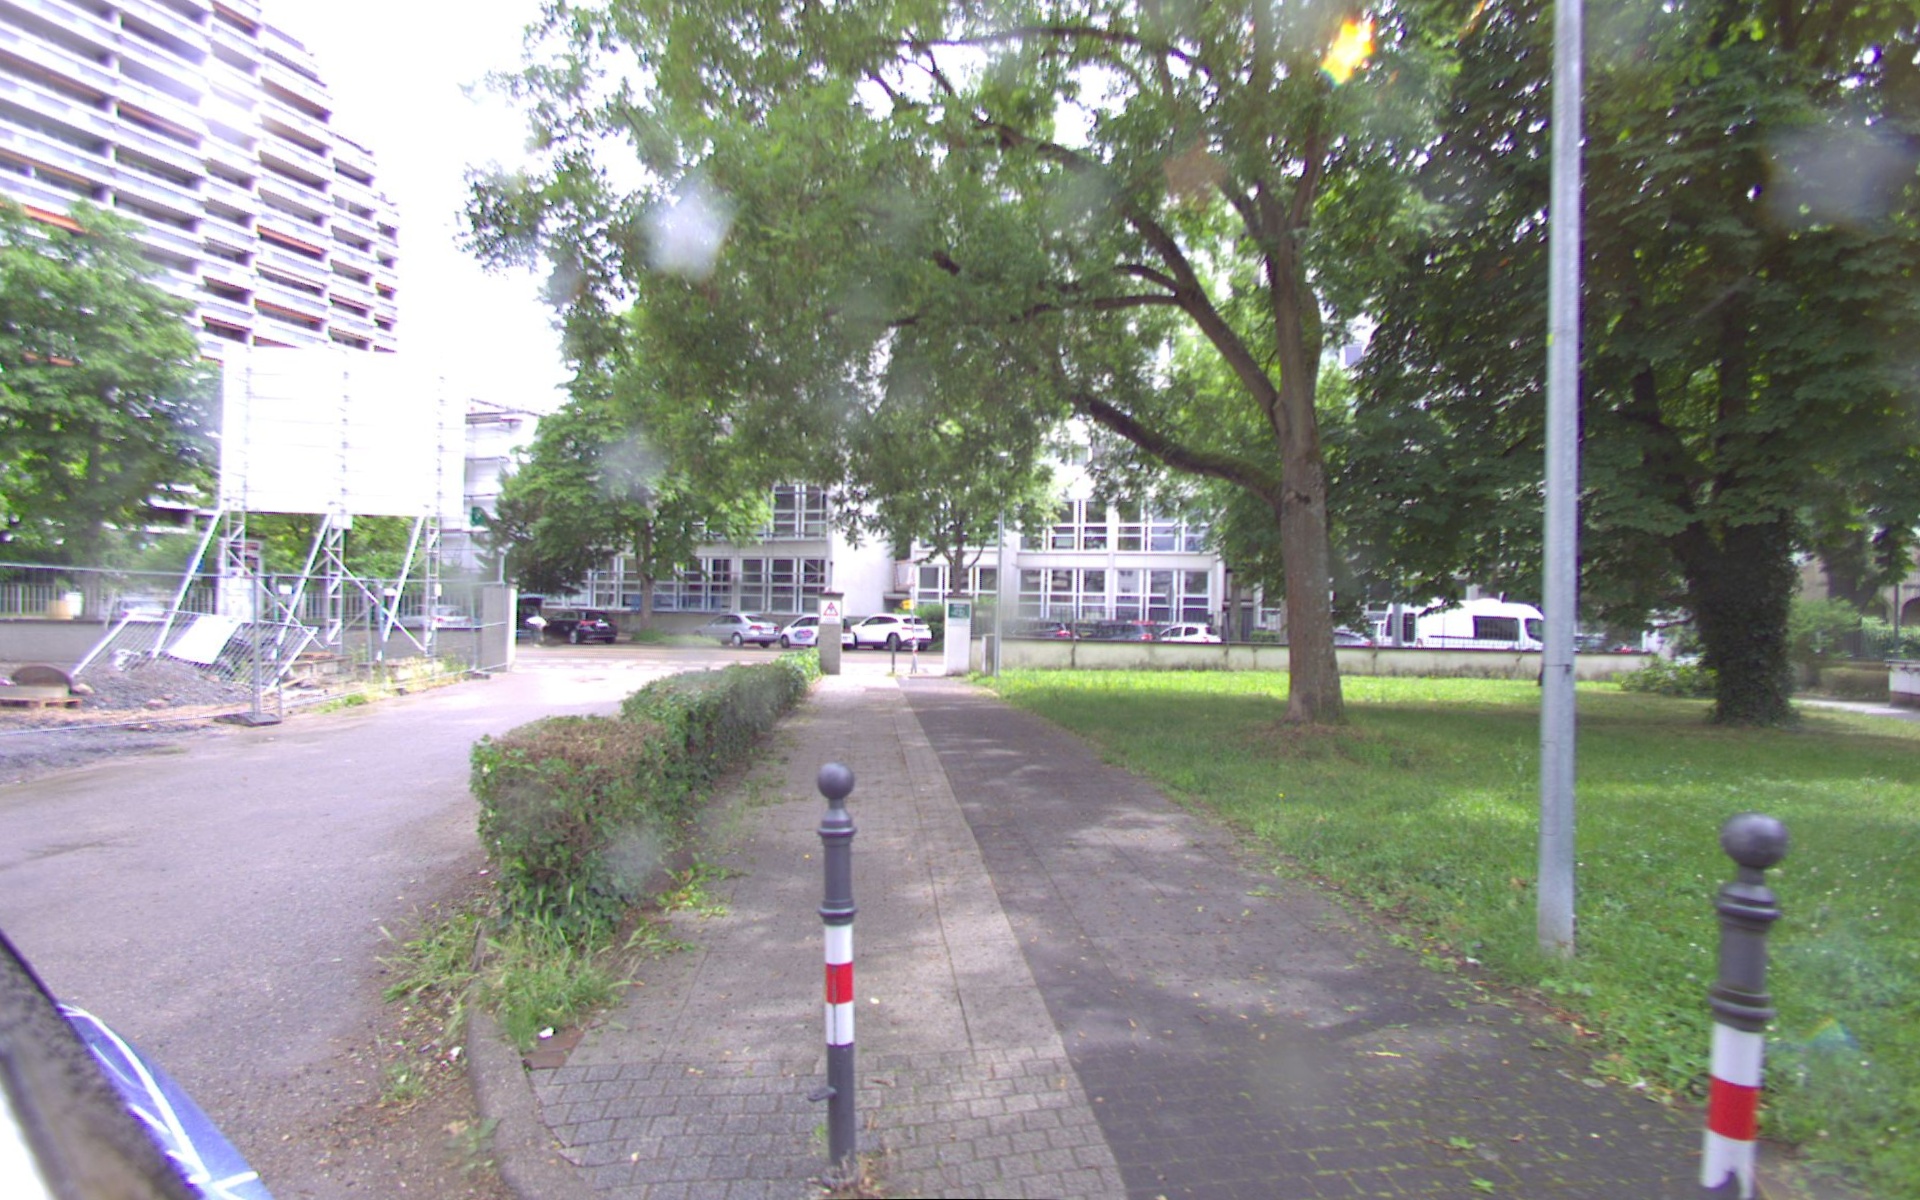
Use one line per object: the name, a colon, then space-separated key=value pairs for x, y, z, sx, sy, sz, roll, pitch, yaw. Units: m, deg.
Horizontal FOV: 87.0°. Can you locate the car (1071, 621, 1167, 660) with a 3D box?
car: x=6.958 y=1.783 z=44.405 sx=3.779 sy=1.517 sz=1.766 roll=1 pitch=-2 yaw=41

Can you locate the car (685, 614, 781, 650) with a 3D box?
car: x=-9.661 y=1.348 z=42.993 sx=3.992 sy=1.425 sz=1.702 roll=0 pitch=-3 yaw=36

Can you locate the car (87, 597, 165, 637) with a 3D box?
car: x=-33.121 y=0.648 z=40.155 sx=3.999 sy=1.497 sz=1.833 roll=0 pitch=0 yaw=42

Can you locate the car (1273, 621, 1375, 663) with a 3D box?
car: x=16.463 y=1.890 z=45.856 sx=4.069 sy=1.663 sz=1.772 roll=2 pitch=-2 yaw=31

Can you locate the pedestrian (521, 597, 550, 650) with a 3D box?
pedestrian: x=-16.655 y=0.914 z=39.719 sx=0.915 sy=2.029 sz=0.862 roll=2 pitch=-1 yaw=-16

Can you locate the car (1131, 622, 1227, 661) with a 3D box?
car: x=9.748 y=1.841 z=45.211 sx=3.779 sy=1.517 sz=1.766 roll=1 pitch=-2 yaw=41

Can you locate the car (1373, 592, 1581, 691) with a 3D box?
car: x=15.004 y=1.208 z=29.512 sx=5.001 sy=2.601 sz=2.098 roll=3 pitch=-2 yaw=-7

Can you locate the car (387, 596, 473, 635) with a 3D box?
car: x=-21.483 y=0.595 z=40.989 sx=3.999 sy=1.497 sz=1.833 roll=0 pitch=0 yaw=42

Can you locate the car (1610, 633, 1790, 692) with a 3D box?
car: x=22.005 y=1.836 z=30.180 sx=4.078 sy=1.533 sz=1.915 roll=3 pitch=-2 yaw=-7

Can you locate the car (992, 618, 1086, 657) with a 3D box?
car: x=3.423 y=1.652 z=44.350 sx=3.779 sy=1.517 sz=1.766 roll=1 pitch=-2 yaw=41

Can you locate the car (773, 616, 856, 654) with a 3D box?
car: x=-6.175 y=1.471 z=42.832 sx=3.387 sy=1.456 sz=1.632 roll=0 pitch=-3 yaw=40

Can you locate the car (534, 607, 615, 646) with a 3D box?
car: x=-15.876 y=1.067 z=41.632 sx=3.648 sy=1.438 sz=1.600 roll=1 pitch=-1 yaw=42

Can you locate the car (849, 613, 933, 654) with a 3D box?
car: x=-2.975 y=1.430 z=43.451 sx=3.387 sy=1.615 sz=1.684 roll=0 pitch=-3 yaw=40

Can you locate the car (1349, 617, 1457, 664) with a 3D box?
car: x=19.978 y=1.817 z=45.701 sx=4.083 sy=1.947 sz=1.766 roll=1 pitch=-2 yaw=41

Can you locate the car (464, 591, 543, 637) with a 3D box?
car: x=-18.649 y=0.570 z=41.294 sx=3.648 sy=1.760 sz=1.600 roll=1 pitch=-1 yaw=42
